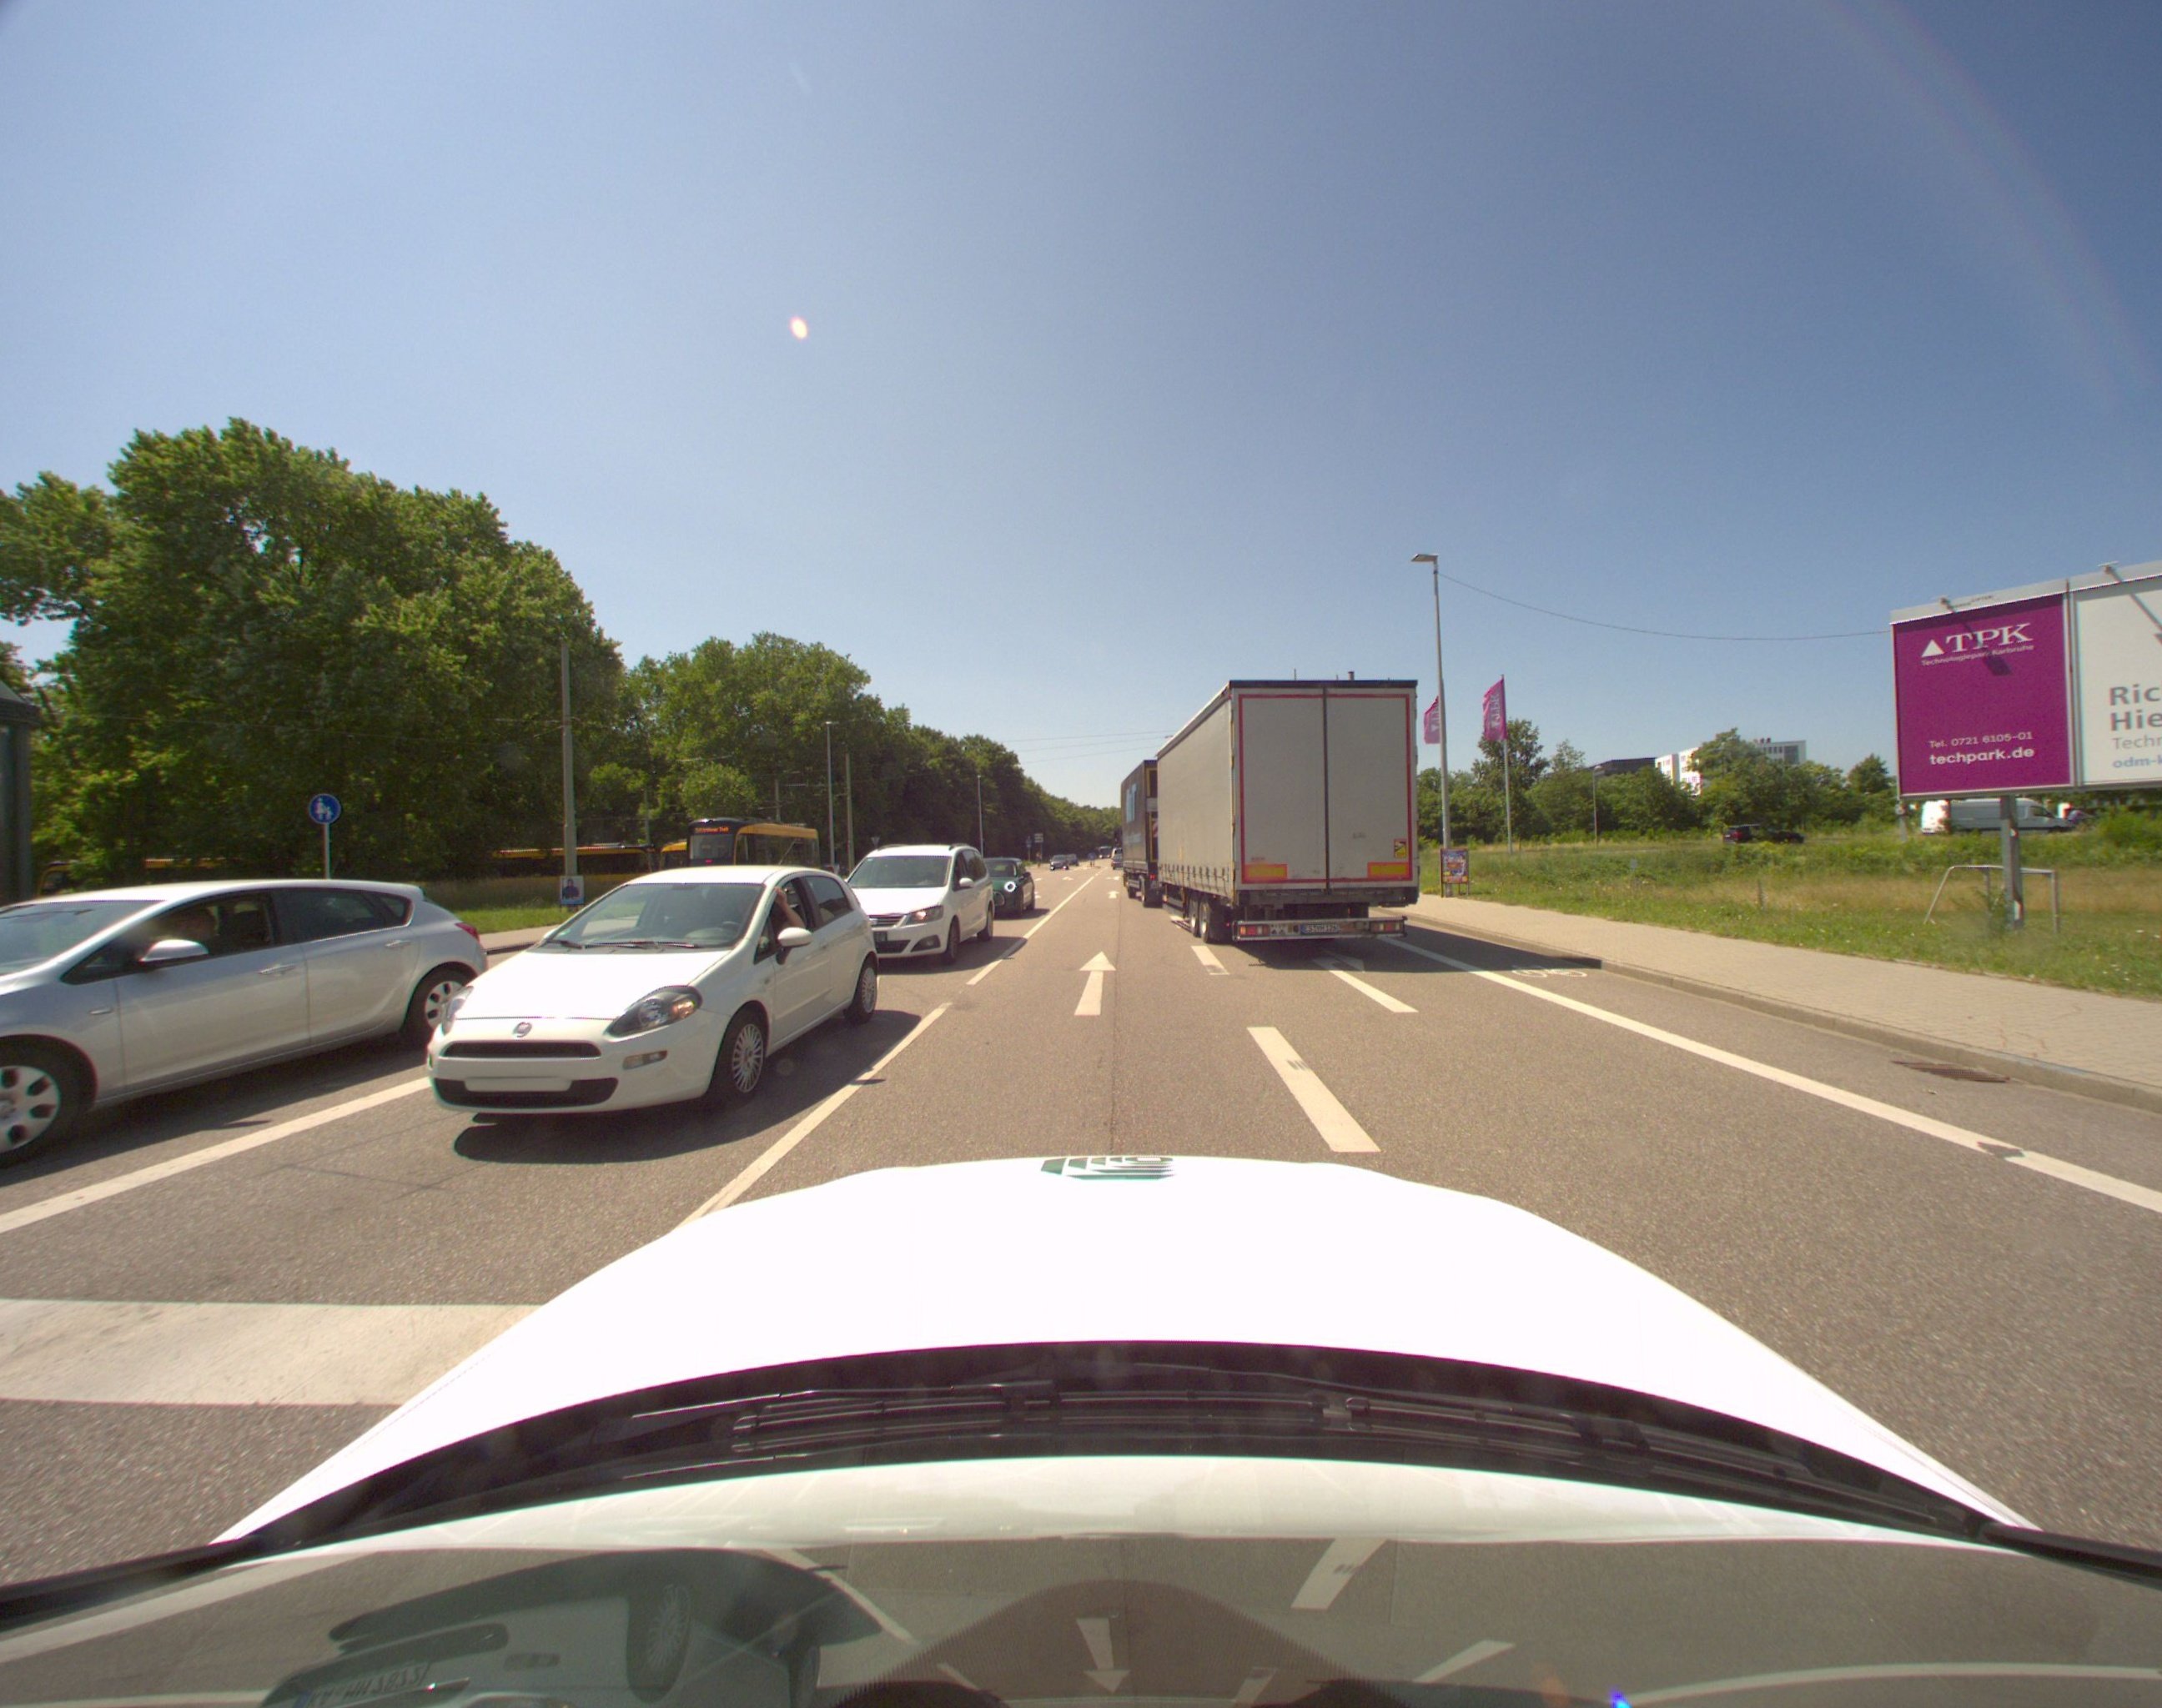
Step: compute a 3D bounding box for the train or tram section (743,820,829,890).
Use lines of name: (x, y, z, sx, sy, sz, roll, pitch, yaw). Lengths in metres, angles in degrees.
train or tram section: (-18.519, 0.166, 50.508, 3.035, 3.759, 11.508, -3, 0, -29)

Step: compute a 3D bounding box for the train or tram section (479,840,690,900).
train or tram section: (-38.316, 1.189, 63.206, 14.110, 3.759, 3.024, -3, 0, -2)

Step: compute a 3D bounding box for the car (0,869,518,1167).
car: (-6.389, 0.919, 5.531, 1.783, 1.455, 4.417, -3, 0, 4)

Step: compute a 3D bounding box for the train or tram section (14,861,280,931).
train or tram section: (-63.004, 2.695, 55.510, 11.466, 3.759, 3.000, -4, 0, -27)

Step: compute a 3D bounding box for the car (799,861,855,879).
car: (-21.917, 1.360, 70.369, 4.271, 1.417, 1.672, -2, -1, 11)

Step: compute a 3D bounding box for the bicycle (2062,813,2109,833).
bicycle: (65.106, -1.996, 52.781, 1.945, 1.180, 0.616, -3, 2, 13)

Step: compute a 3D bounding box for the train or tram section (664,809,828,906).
train or tram section: (-15.630, 0.091, 39.577, 3.009, 3.759, 12.979, -3, 0, -3)

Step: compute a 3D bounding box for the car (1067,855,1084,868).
car: (-0.660, 0.861, 98.669, 1.736, 1.405, 4.446, -4, 1, 4)

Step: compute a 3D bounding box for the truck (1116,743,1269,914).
truck: (2.878, -0.642, 23.709, 3.069, 4.069, 7.953, -1, 0, -2)

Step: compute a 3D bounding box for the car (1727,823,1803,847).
car: (45.788, -1.239, 54.581, 3.595, 1.533, 1.710, 0, 0, 8)

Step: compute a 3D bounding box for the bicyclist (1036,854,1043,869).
bicyclist: (-4.620, 0.830, 91.185, 0.662, 1.706, 0.770, -1, 0, 4)

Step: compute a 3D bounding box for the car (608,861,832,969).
car: (-5.905, 0.899, 13.994, 1.753, 1.457, 4.288, -2, 0, 2)

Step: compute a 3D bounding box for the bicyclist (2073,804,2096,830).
bicyclist: (65.015, -2.390, 52.779, 0.685, 1.623, 0.612, -3, 2, 13)

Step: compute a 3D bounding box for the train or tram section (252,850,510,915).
train or tram section: (-51.448, 2.003, 60.605, 14.199, 3.759, 3.005, -4, 0, -21)

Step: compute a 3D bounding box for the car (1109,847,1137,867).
car: (3.737, 0.263, 72.349, 2.013, 1.632, 4.011, -2, 0, 9)

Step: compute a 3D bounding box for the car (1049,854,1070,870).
car: (-2.064, 0.769, 78.404, 1.615, 1.456, 3.504, -3, 0, 3)

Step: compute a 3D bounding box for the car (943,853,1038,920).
car: (-2.185, 0.739, 20.594, 1.716, 1.462, 3.993, -1, 0, 3)

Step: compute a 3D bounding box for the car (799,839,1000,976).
car: (-2.578, 0.668, 12.885, 1.804, 1.723, 4.835, -1, 0, 3)

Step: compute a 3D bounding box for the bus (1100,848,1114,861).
bus: (7.098, 0.134, 220.680, 2.736, 3.045, 11.956, -3, 0, 5)

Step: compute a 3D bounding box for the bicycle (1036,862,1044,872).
bicycle: (-4.613, 1.439, 91.236, 0.666, 1.055, 2.048, -1, 1, 4)

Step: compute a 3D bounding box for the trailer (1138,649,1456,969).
trailer: (3.134, -0.617, 15.383, 3.069, 4.069, 9.801, -1, 0, -2)

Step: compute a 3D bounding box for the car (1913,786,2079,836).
car: (58.688, -2.712, 52.402, 6.784, 2.802, 2.677, -1, -1, 13)

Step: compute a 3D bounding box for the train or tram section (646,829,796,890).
train or tram section: (-26.462, 0.526, 59.303, 13.865, 3.759, 3.046, -3, 0, 35)

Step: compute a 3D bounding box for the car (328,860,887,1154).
car: (-2.885, 0.793, 6.120, 1.761, 1.437, 3.963, -1, 0, 2)
